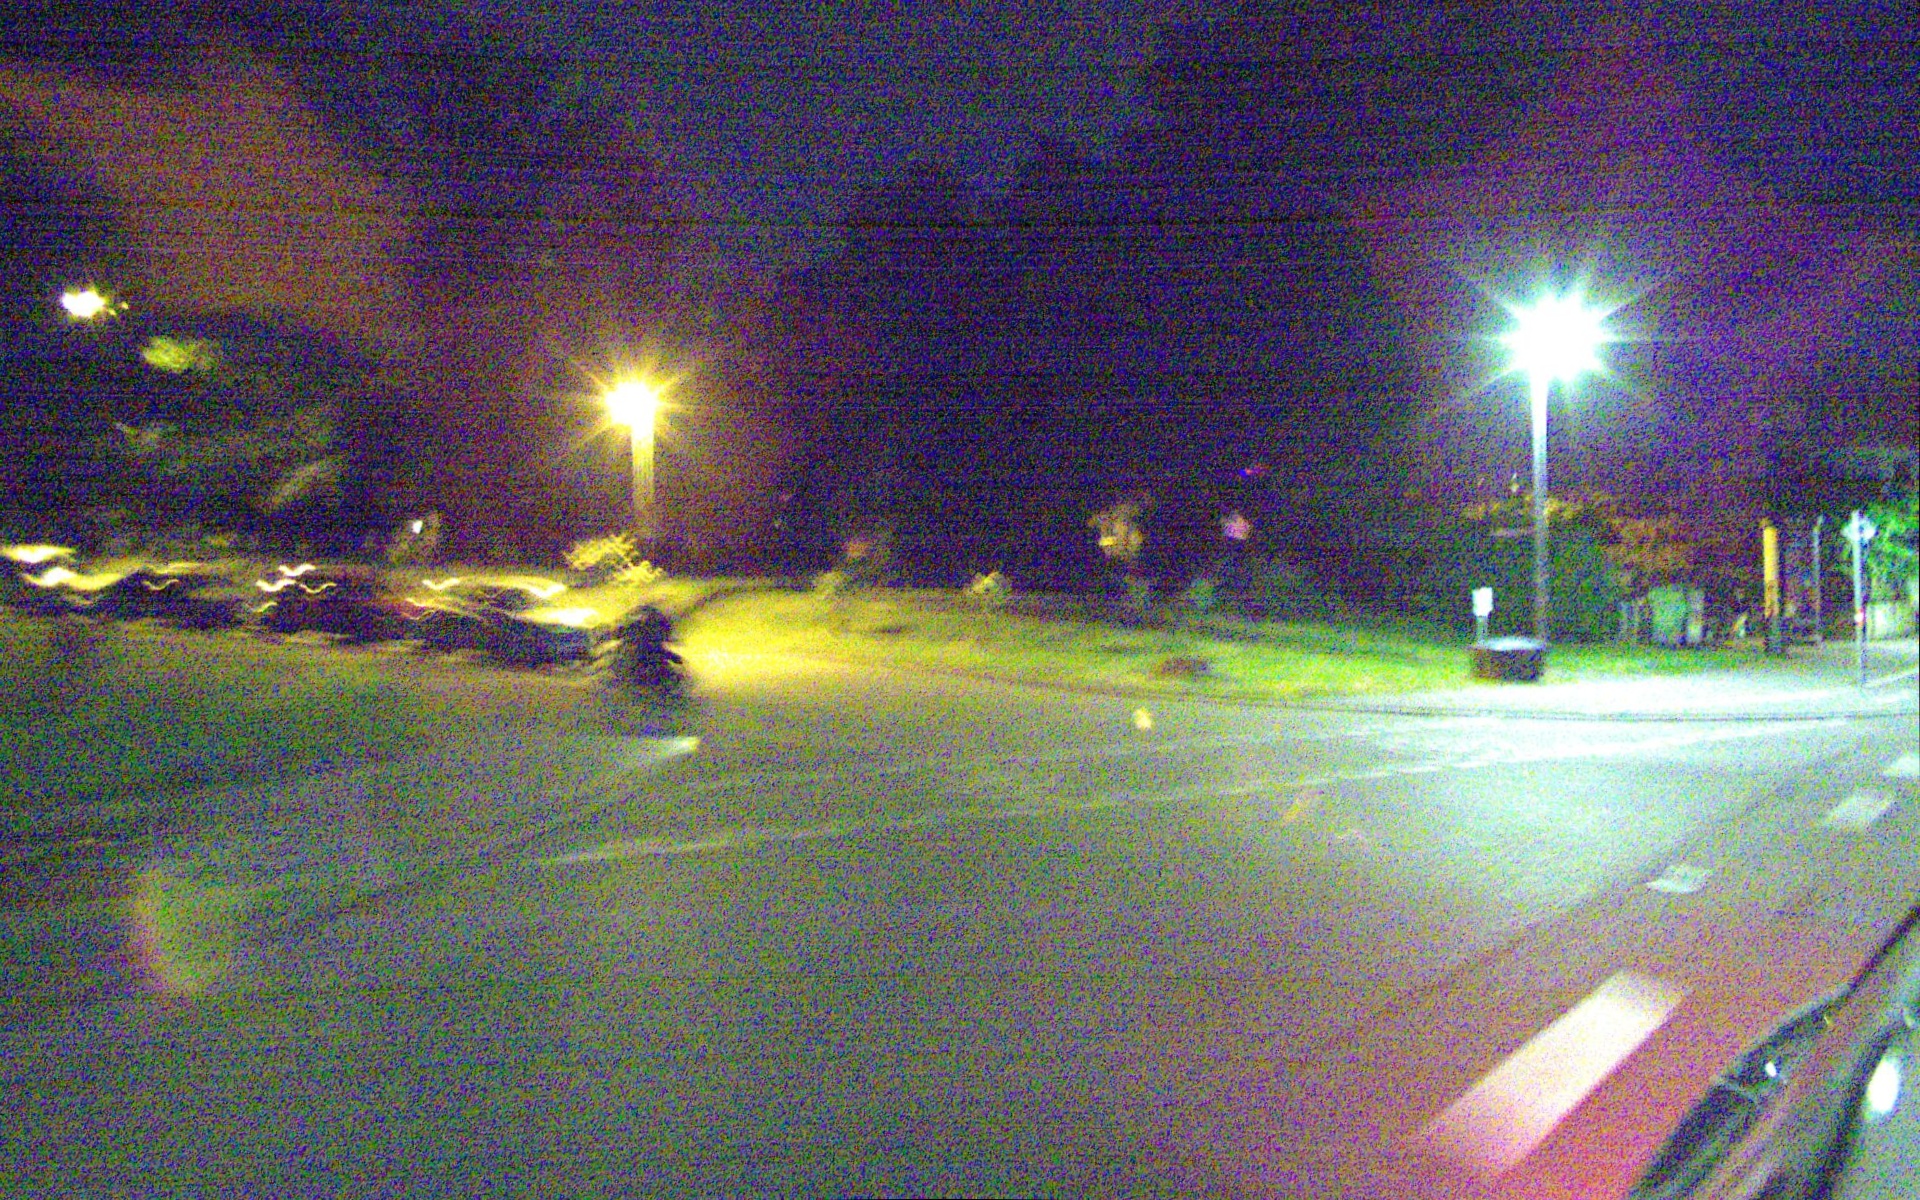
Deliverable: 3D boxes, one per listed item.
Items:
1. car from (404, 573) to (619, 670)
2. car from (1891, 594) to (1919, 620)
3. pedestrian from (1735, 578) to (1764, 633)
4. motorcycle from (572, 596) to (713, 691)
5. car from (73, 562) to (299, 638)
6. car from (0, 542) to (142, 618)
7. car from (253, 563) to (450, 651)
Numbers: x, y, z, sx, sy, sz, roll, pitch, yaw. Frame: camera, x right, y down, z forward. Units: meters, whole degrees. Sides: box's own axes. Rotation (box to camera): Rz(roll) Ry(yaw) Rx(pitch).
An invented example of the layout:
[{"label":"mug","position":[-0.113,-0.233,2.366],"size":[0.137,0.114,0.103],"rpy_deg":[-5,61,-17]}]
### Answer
[{"label":"car","position":[-7.887,0.310,17.748],"size":[3.607,1.498,1.841],"rpy_deg":[2,1,35]},{"label":"car","position":[57.407,0.418,59.462],"size":[1.699,1.492,3.721],"rpy_deg":[0,0,-37]},{"label":"pedestrian","position":[28.705,0.195,36.793],"size":[0.759,1.961,0.647],"rpy_deg":[0,1,-40]},{"label":"motorcycle","position":[-4.615,0.583,14.640],"size":[2.251,1.229,0.702],"rpy_deg":[2,1,35]},{"label":"car","position":[-17.092,-0.043,22.355],"size":[4.652,1.493,1.751],"rpy_deg":[2,1,20]},{"label":"car","position":[-21.906,-0.510,24.174],"size":[4.275,1.691,1.751],"rpy_deg":[2,1,20]},{"label":"car","position":[-12.169,0.093,20.184],"size":[3.997,1.567,1.596],"rpy_deg":[2,1,29]}]
